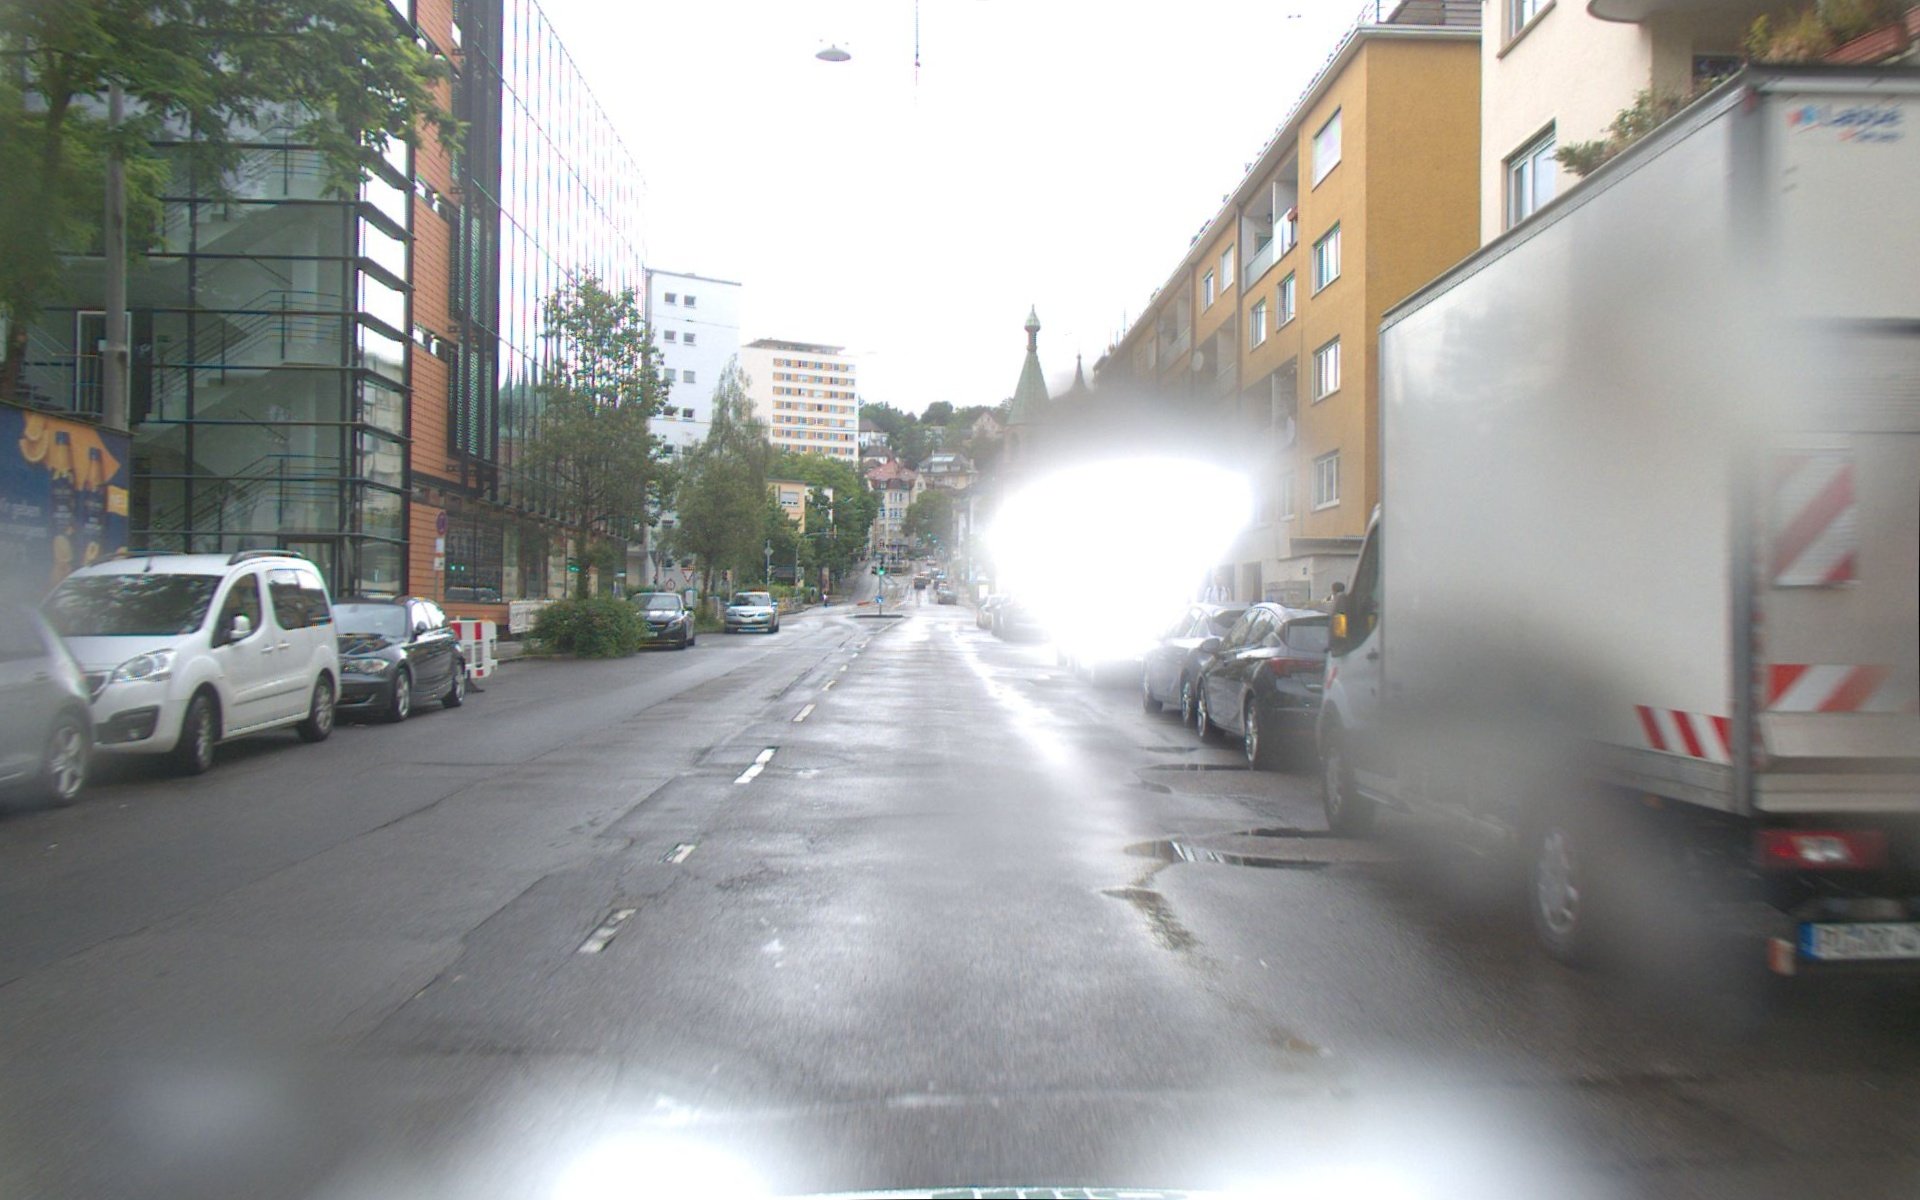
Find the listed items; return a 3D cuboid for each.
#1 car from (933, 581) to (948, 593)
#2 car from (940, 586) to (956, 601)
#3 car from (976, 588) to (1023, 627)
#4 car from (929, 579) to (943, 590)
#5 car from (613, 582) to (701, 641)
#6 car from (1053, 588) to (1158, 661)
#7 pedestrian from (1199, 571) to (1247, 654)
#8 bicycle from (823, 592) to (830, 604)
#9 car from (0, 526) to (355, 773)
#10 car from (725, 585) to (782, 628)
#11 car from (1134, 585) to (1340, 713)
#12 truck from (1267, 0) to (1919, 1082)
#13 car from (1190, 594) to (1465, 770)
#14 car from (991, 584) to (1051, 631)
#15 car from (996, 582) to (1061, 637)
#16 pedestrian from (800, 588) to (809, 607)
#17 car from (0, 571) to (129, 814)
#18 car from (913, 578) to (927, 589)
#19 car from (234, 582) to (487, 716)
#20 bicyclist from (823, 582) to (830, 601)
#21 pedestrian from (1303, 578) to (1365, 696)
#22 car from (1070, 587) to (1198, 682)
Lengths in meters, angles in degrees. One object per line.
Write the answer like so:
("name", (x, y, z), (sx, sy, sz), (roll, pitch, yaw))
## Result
("car", (-2.628, -1.764, 225.235), (1.854, 1.536, 3.999), (2, 0, -2))
("car", (-1.337, -0.798, 188.497), (1.696, 1.682, 4.001), (0, 0, 1))
("car", (1.678, 0.304, 71.559), (1.781, 1.549, 4.074), (2, 0, -2))
("car", (-3.481, -2.315, 241.437), (1.870, 1.536, 3.999), (2, 0, -2))
("car", (-8.000, 0.289, 43.986), (1.767, 1.476, 4.654), (0, 0, -4))
("car", (2.934, 0.477, 34.112), (1.630, 1.424, 3.919), (0, 0, -3))
("pedestrian", (5.749, 0.261, 36.137), (0.751, 1.762, 0.742), (-1, 2, 31))
("bicycle", (-12.155, -0.179, 150.371), (0.663, 1.127, 1.798), (0, 0, -4))
("car", (-6.895, 0.381, 14.533), (1.689, 1.832, 4.342), (-1, 0, -2))
("car", (-7.400, 0.233, 59.498), (1.675, 1.476, 4.292), (0, 0, -3))
("car", (3.337, 0.583, 20.629), (1.631, 1.446, 3.917), (0, -1, -5))
("truck", (3.503, -0.180, 8.466), (2.419, 3.228, 7.034), (0, 0, -1))
("car", (3.352, 0.677, 15.843), (1.630, 1.446, 4.041), (0, 0, -2))
("car", (2.131, 0.243, 58.619), (1.781, 1.549, 4.074), (2, 0, -2))
("car", (2.208, 0.295, 54.064), (1.781, 1.681, 4.074), (2, 0, -2))
("pedestrian", (-15.797, -0.262, 168.465), (0.870, 1.926, 0.921), (0, 0, -8))
("car", (-6.689, 0.576, 9.669), (1.649, 1.488, 4.275), (-1, 0, -3))
("car", (-5.884, -2.475, 242.424), (1.870, 1.536, 3.999), (1, 0, -2))
("car", (-6.985, 0.523, 19.753), (1.689, 1.400, 4.340), (-1, 0, -4))
("bicyclist", (-12.143, -0.754, 150.344), (0.663, 1.690, 0.649), (0, -1, -5))
("pedestrian", (5.369, 0.521, 23.780), (0.650, 1.631, 0.744), (-4, 0, 2))
("car", (2.939, 0.555, 28.614), (1.630, 1.528, 3.919), (0, 0, -3))
